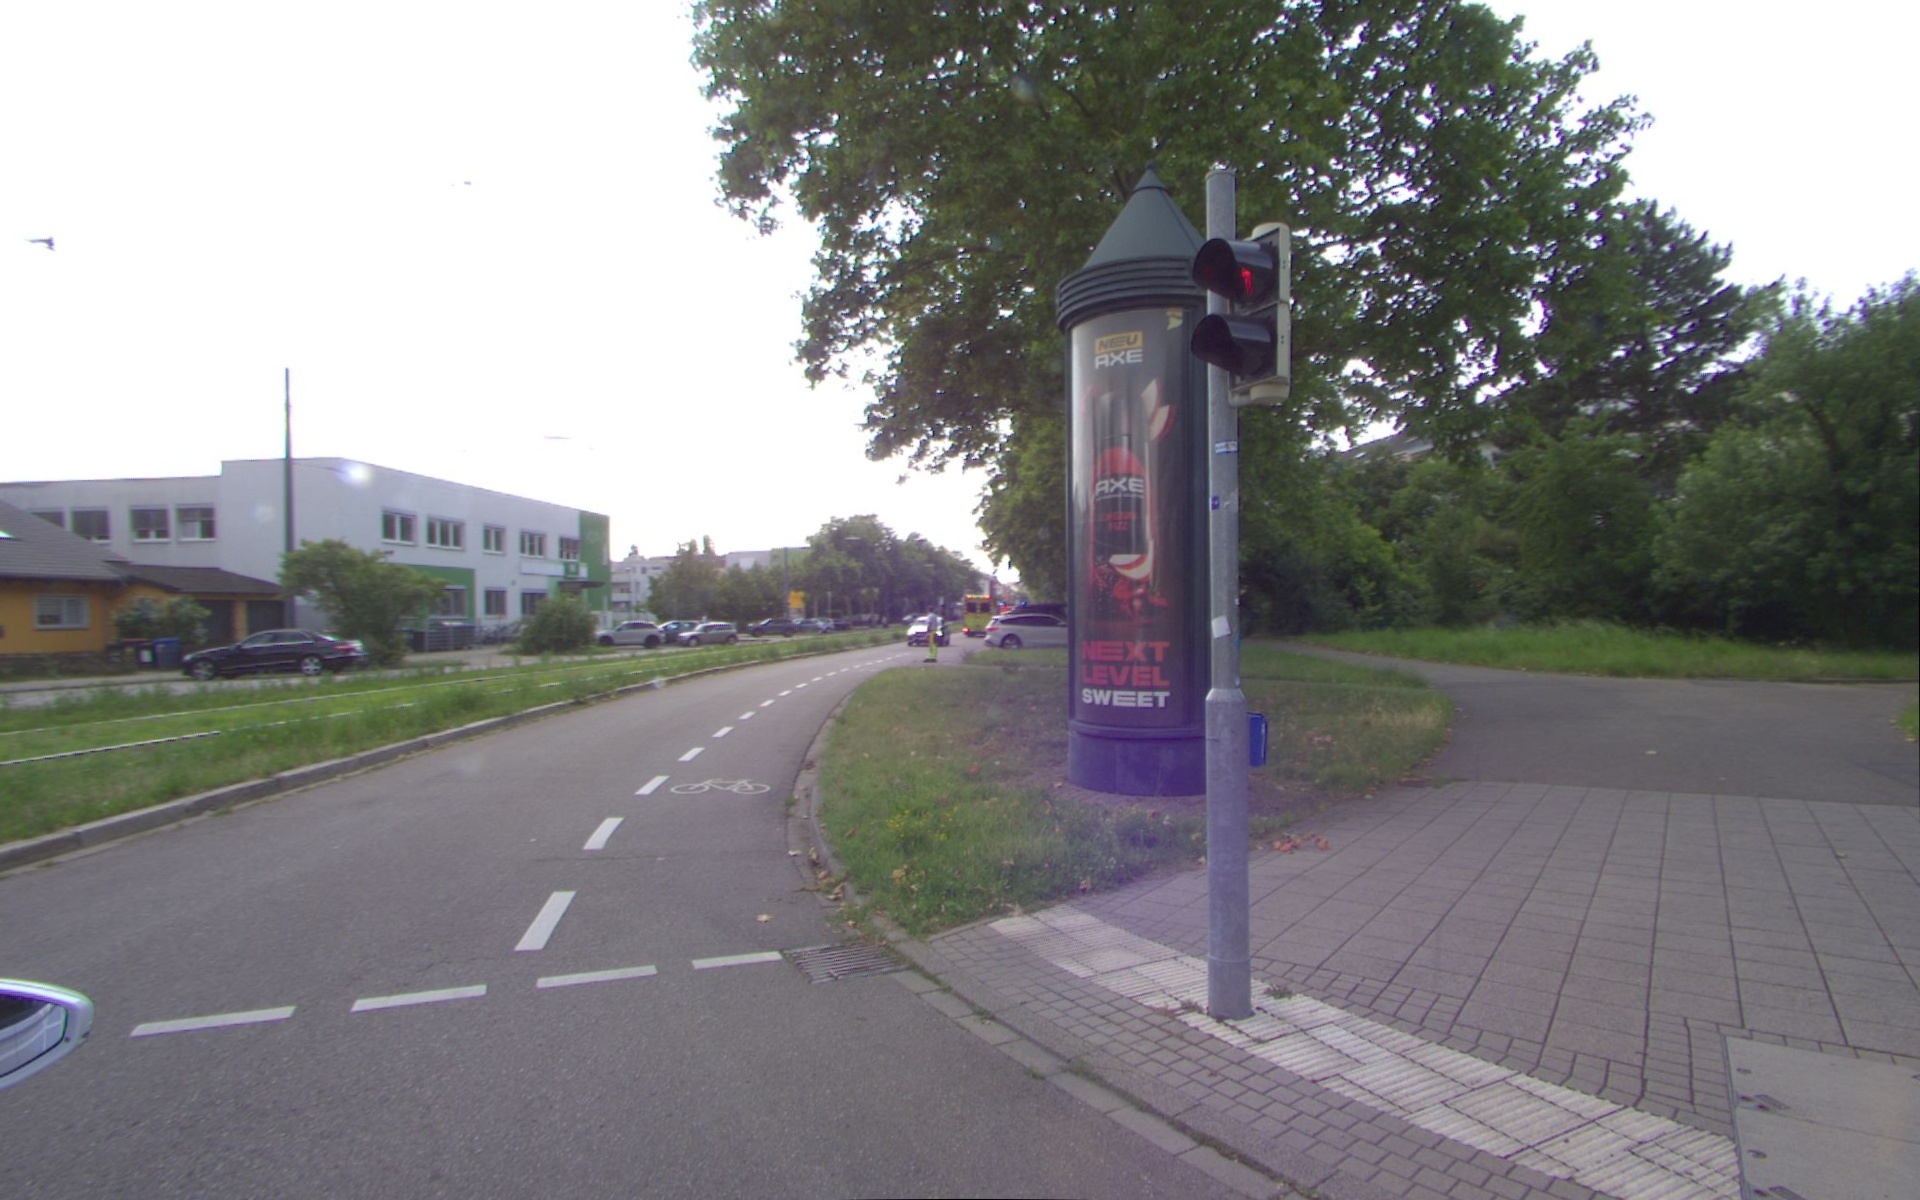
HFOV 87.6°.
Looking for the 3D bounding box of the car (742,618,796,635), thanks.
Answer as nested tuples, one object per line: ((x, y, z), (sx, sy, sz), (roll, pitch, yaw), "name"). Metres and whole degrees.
((-16.004, 2.196, 83.787), (4.239, 1.381, 1.898), (0, 0, -18), "car")

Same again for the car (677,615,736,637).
((-18.382, 1.871, 72.540), (4.096, 1.523, 1.858), (0, -1, -16), "car")

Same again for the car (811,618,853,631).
((-13.905, 2.635, 108.441), (4.238, 1.381, 1.899), (0, 0, -16), "car")

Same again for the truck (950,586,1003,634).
((1.323, 0.754, 74.130), (3.132, 3.361, 7.522), (-1, -1, 7), "truck")

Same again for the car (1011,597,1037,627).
((7.712, 1.482, 119.434), (2.917, 3.373, 7.461), (1, -1, 4), "car")

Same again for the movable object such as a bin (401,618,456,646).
((-25.946, 1.543, 48.899), (1.350, 1.344, 2.116), (-1, 0, 10), "movable object such as a bin")

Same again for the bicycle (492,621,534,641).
((-27.036, 1.864, 60.555), (2.307, 1.181, 0.760), (-1, 0, 12), "bicycle")

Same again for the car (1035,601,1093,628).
((13.739, 1.922, 132.714), (7.313, 3.373, 2.976), (1, -1, 1), "car")

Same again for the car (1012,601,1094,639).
((5.211, 1.128, 56.008), (4.469, 2.039, 2.000), (-1, -1, 7), "car")

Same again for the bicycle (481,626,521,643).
((-27.356, 2.038, 59.674), (2.118, 0.983, 0.730), (-1, 0, 10), "bicycle")

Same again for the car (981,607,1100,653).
((3.083, 1.158, 38.602), (4.455, 1.665, 2.001), (-1, -2, 4), "car")

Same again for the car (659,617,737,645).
((-15.964, 1.887, 61.100), (4.258, 1.650, 1.890), (1, -1, -34), "car")

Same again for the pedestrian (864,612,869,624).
((-13.913, 2.727, 148.686), (0.610, 1.752, 0.646), (1, 0, 6), "pedestrian")

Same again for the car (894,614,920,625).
((-9.103, 3.313, 171.454), (3.938, 1.861, 1.815), (2, -1, -26), "car")

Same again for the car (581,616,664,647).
((-19.323, 1.793, 57.307), (4.249, 1.650, 1.894), (0, 0, -27), "car")

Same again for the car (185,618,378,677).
((-20.968, 1.431, 31.170), (4.496, 1.601, 1.998), (-1, 0, -14), "car")

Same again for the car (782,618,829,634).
((-15.029, 2.517, 97.366), (4.238, 1.381, 1.899), (0, 0, -16), "car")

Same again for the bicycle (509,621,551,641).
((-26.489, 1.906, 61.643), (2.373, 1.181, 0.748), (-1, 0, 13), "bicycle")

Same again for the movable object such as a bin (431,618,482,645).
((-25.652, 1.598, 51.069), (1.350, 1.344, 2.131), (-1, 0, 10), "movable object such as a bin")

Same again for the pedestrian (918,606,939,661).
((-0.976, 1.054, 31.256), (0.576, 1.706, 0.494), (0, 0, 5), "pedestrian")

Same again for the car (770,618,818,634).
((-15.599, 2.434, 94.087), (4.238, 1.381, 1.899), (0, 0, -16), "car")

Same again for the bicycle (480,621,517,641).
((-26.257, 1.741, 57.035), (1.762, 1.096, 0.736), (-1, 0, 4), "bicycle")

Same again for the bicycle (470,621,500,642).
((-27.586, 1.829, 58.155), (1.594, 1.181, 0.704), (-1, 0, 23), "bicycle")

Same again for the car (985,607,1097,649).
((3.293, 1.155, 41.179), (4.455, 1.665, 2.001), (-1, -2, 4), "car")

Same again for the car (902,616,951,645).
((-1.679, 1.512, 51.265), (1.805, 1.411, 4.606), (0, -1, 7), "car")

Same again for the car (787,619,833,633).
((-14.983, 2.575, 99.965), (4.238, 1.381, 1.899), (0, 0, -16), "car")

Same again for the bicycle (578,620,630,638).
((-24.308, 1.990, 68.389), (3.083, 1.181, 1.142), (-1, 0, 2), "bicycle")

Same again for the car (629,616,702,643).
((-18.634, 1.841, 63.338), (4.244, 1.650, 1.896), (0, -1, -22), "car")
